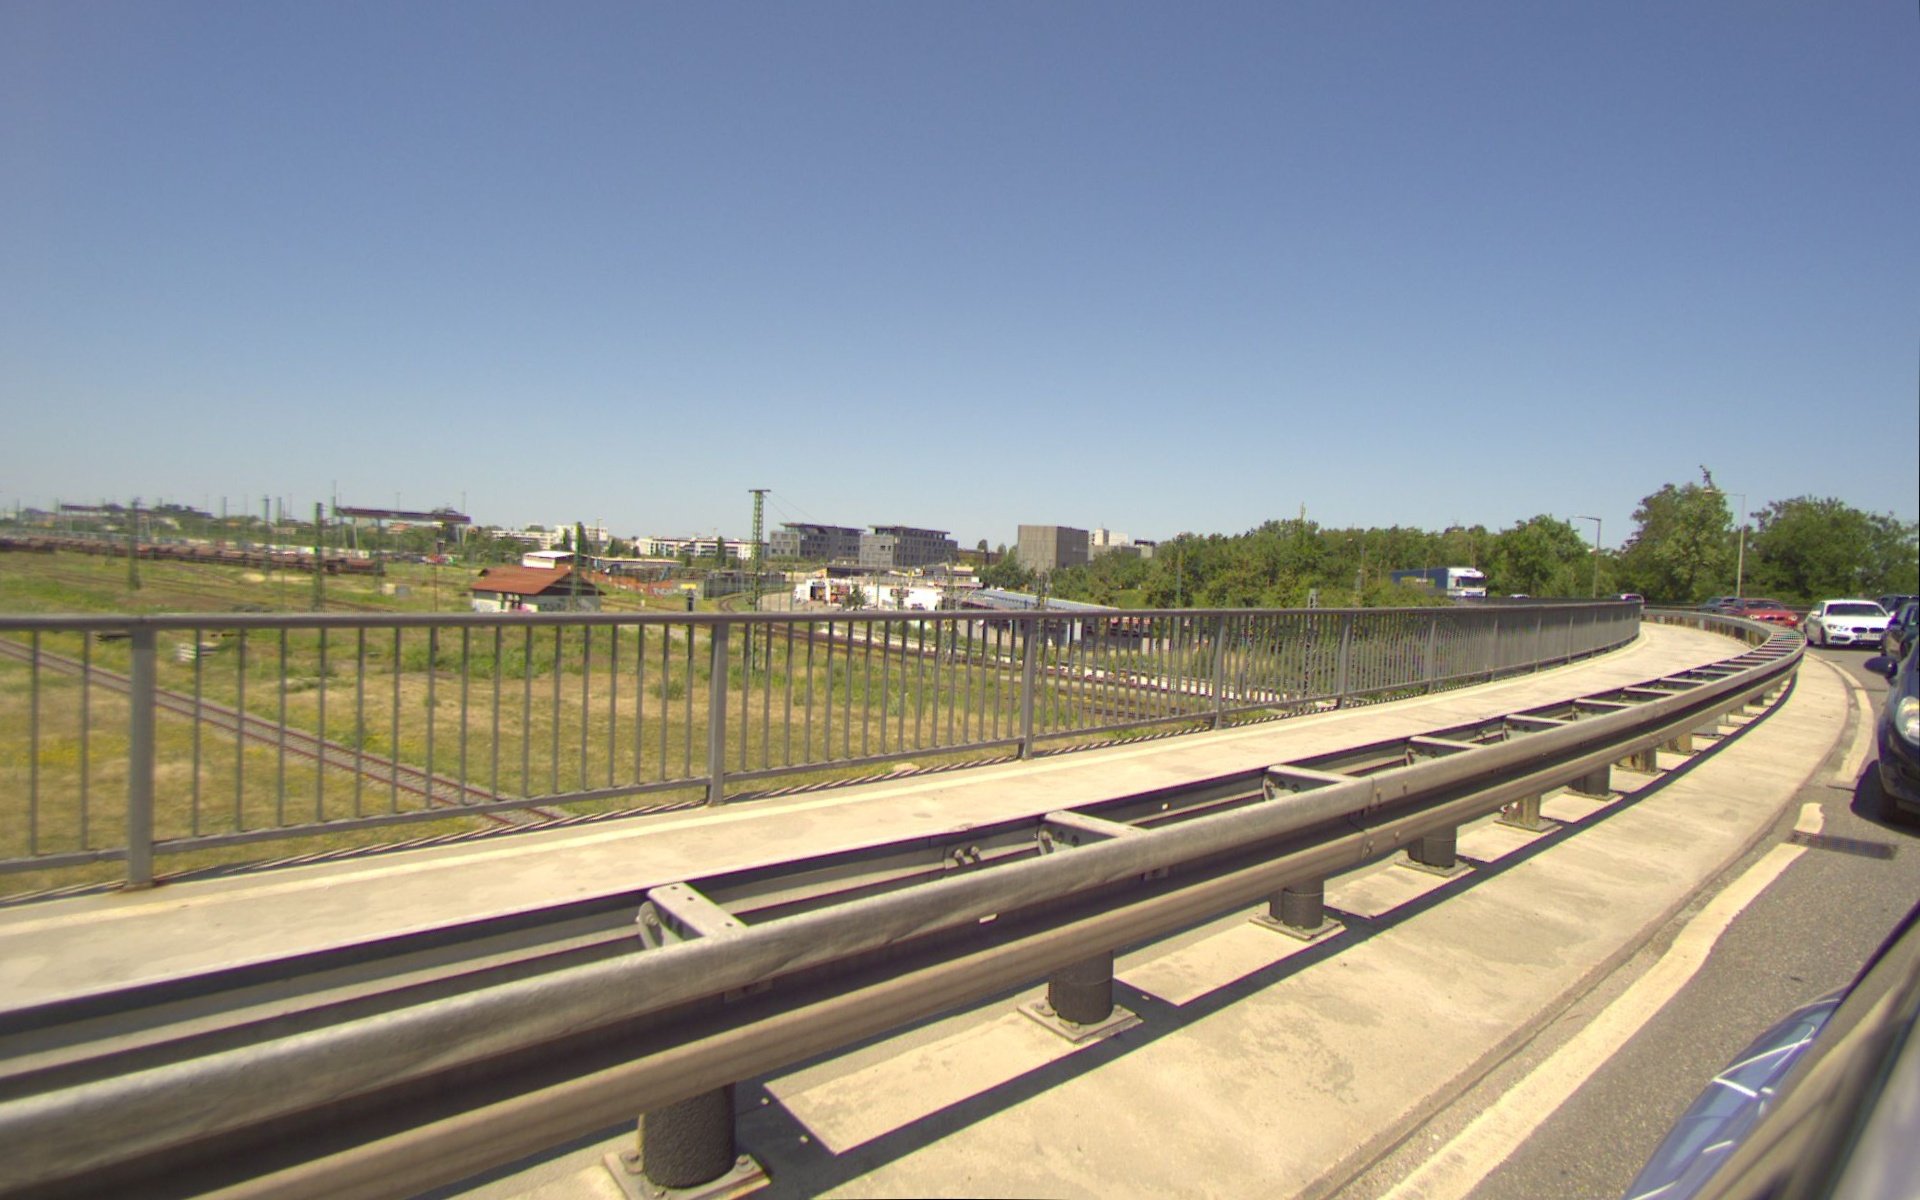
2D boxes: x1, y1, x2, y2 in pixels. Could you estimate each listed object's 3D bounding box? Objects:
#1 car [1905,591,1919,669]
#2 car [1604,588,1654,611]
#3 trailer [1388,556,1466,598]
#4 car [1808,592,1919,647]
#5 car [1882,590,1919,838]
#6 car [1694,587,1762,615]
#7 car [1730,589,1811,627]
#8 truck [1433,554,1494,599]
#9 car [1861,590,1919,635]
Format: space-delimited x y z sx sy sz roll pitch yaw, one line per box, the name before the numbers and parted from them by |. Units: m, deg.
car | 20.397 0.574 20.472 1.789 1.473 4.454 1 1 42
car | 49.220 -0.062 74.562 1.673 1.627 3.987 1 1 12
trailer | 49.708 -2.411 108.251 2.651 4.287 12.711 0 1 1
car | 26.425 0.506 29.719 1.782 1.473 4.470 0 1 33
car | 7.528 0.674 6.836 3.933 1.457 1.642 0 1 -43
car | 44.381 0.033 58.584 1.756 1.527 4.172 2 1 17
car | 34.164 0.281 42.772 1.778 1.473 4.481 1 1 27
truck | 49.587 -2.321 99.892 2.646 4.281 6.837 -1 1 1
car | 36.979 0.471 39.434 1.761 1.646 4.212 1 1 28
